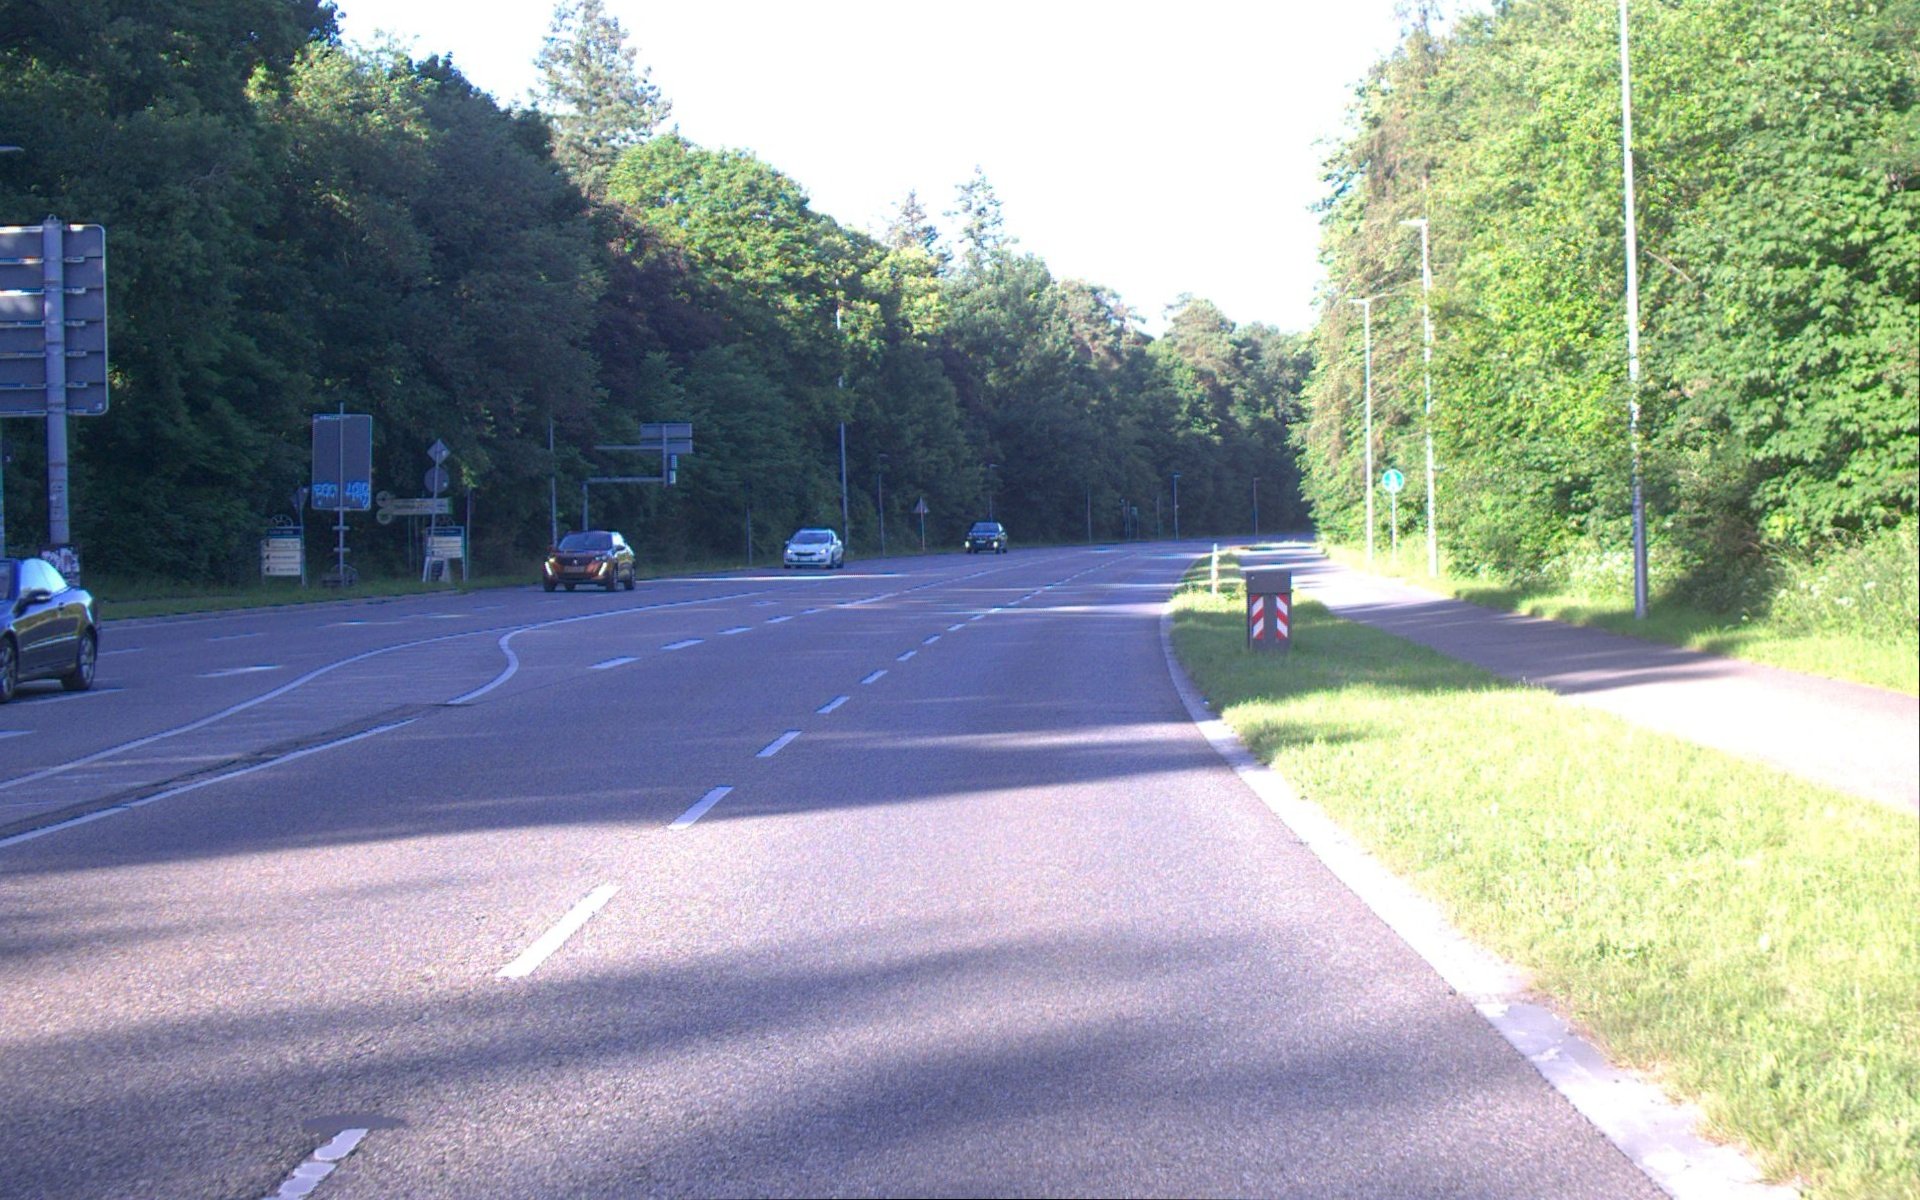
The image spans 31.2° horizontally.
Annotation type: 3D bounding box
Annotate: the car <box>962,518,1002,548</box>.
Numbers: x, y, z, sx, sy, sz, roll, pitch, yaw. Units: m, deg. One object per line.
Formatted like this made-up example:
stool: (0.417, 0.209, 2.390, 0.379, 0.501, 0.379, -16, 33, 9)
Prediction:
car: (1.170, -3.538, 181.399, 1.825, 1.584, 4.351, 0, 1, 5)

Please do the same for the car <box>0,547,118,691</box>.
car: (-9.304, 0.154, 32.128, 1.744, 1.230, 4.674, -1, 1, -1)

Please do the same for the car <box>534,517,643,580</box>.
car: (-9.284, -1.314, 86.172, 1.825, 1.539, 4.256, 0, 1, 6)

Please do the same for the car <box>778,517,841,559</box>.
car: (-5.567, -2.314, 127.483, 1.825, 1.499, 4.306, 0, 1, 5)
